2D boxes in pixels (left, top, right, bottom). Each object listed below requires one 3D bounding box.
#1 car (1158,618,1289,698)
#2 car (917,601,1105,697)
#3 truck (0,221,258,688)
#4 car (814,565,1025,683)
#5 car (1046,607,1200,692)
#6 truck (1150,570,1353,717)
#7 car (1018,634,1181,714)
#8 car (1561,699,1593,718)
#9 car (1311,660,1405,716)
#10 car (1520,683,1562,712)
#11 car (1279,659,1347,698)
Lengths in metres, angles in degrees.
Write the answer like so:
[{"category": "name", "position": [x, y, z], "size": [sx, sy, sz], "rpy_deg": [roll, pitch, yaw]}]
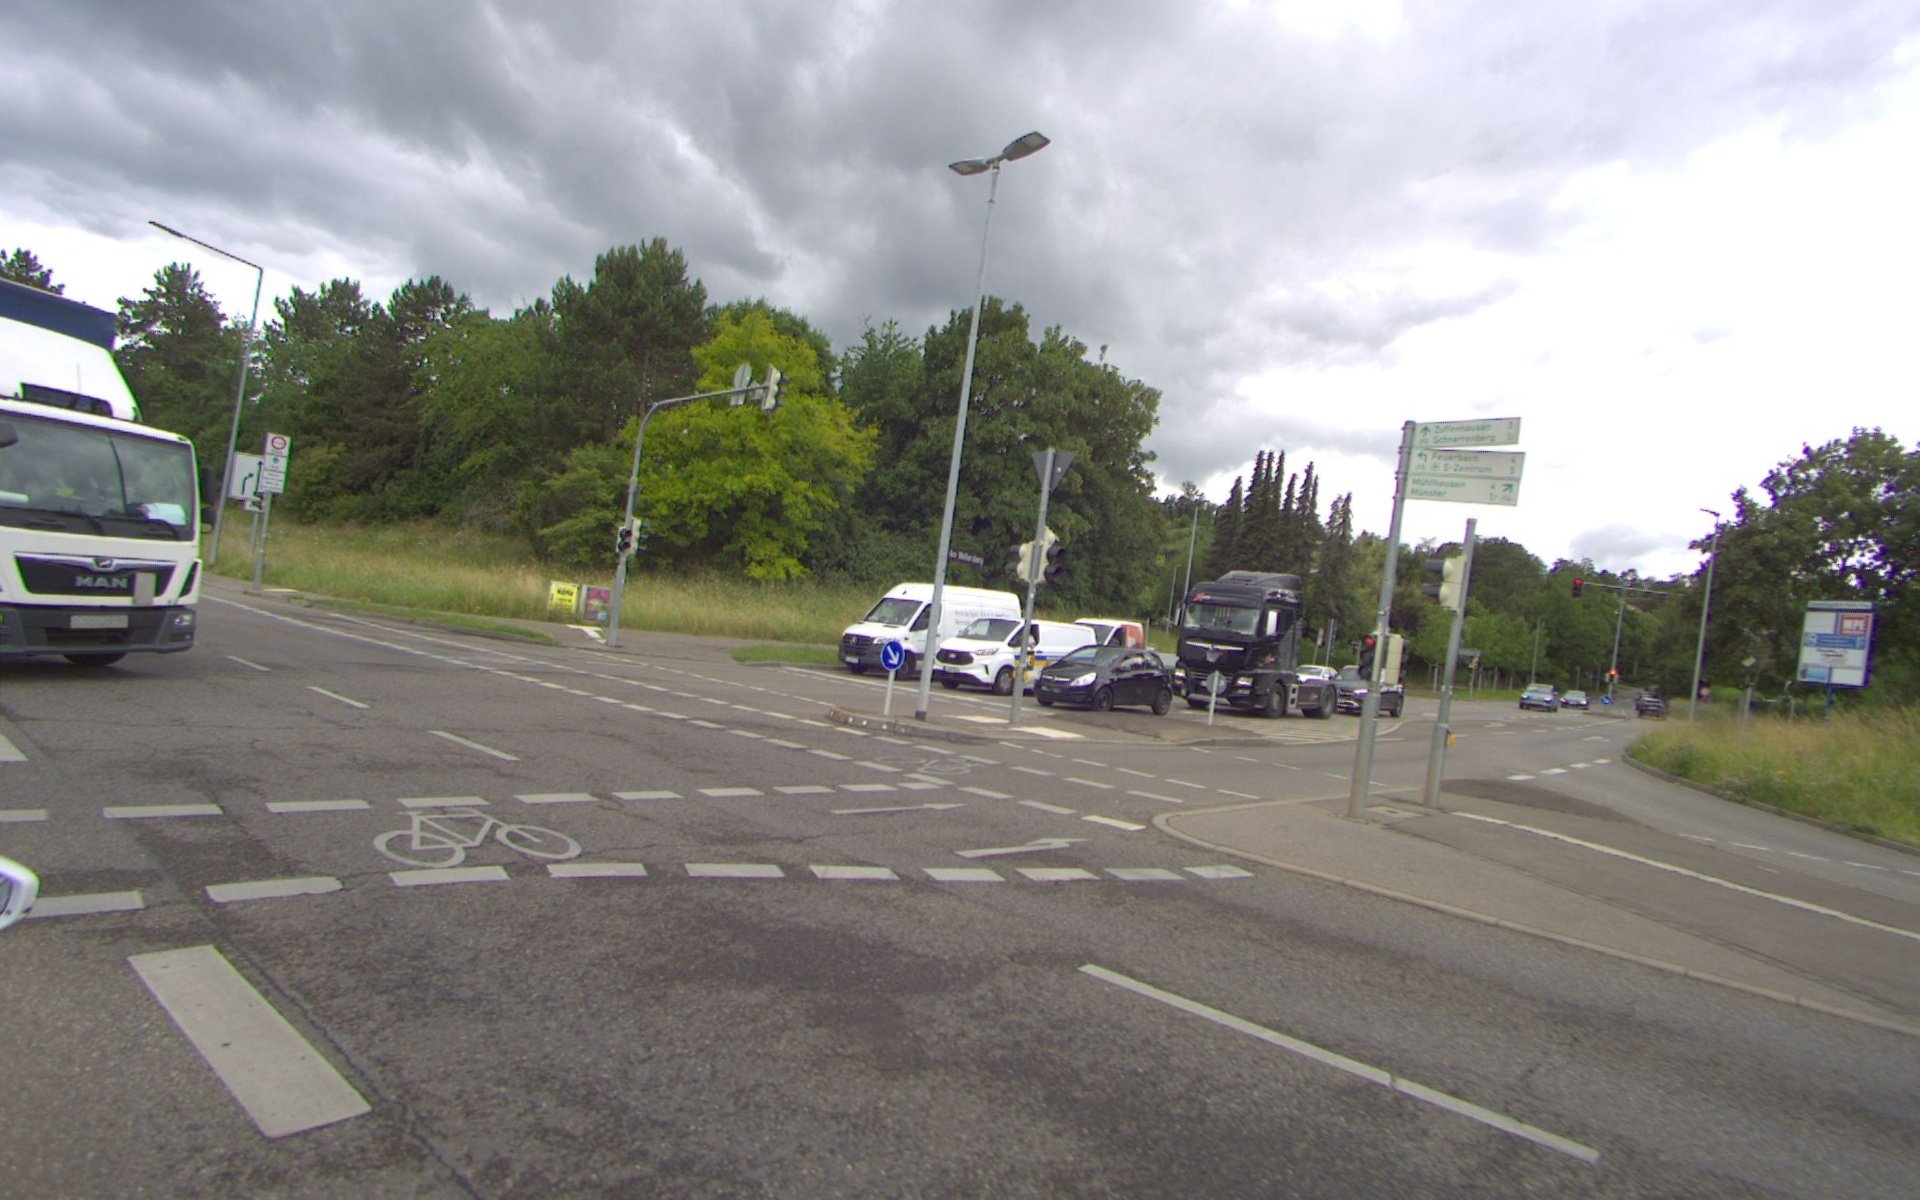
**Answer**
[{"category": "car", "position": [10.854, 2.437, 41.042], "size": [2.198, 2.752, 6.655], "rpy_deg": [5, -2, 42]}, {"category": "car", "position": [1.420, 1.312, 25.727], "size": [2.091, 2.014, 4.967], "rpy_deg": [4, -3, 40]}, {"category": "truck", "position": [-11.855, -1.604, 10.012], "size": [8.228, 3.850, 2.790], "rpy_deg": [7, 0, 12]}, {"category": "car", "position": [-0.966, 0.747, 27.958], "size": [2.198, 2.690, 5.933], "rpy_deg": [5, -2, 41]}, {"category": "car", "position": [5.742, 1.778, 34.822], "size": [2.199, 2.414, 5.930], "rpy_deg": [5, -2, 43]}, {"category": "truck", "position": [8.392, 1.322, 28.552], "size": [3.033, 3.560, 5.933], "rpy_deg": [5, -2, 41]}, {"category": "car", "position": [3.186, 1.691, 22.537], "size": [1.614, 1.459, 3.847], "rpy_deg": [6, -1, 42]}, {"category": "car", "position": [50.238, 8.817, 81.906], "size": [1.613, 1.309, 3.850], "rpy_deg": [6, -1, 40]}, {"category": "car", "position": [13.605, 3.031, 34.292], "size": [1.726, 1.594, 3.850], "rpy_deg": [6, -1, 40]}, {"category": "car", "position": [37.196, 6.262, 64.383], "size": [1.613, 1.594, 3.850], "rpy_deg": [6, -1, 40]}, {"category": "car", "position": [16.405, 3.664, 46.707], "size": [1.629, 1.473, 3.850], "rpy_deg": [6, -1, 40]}]
